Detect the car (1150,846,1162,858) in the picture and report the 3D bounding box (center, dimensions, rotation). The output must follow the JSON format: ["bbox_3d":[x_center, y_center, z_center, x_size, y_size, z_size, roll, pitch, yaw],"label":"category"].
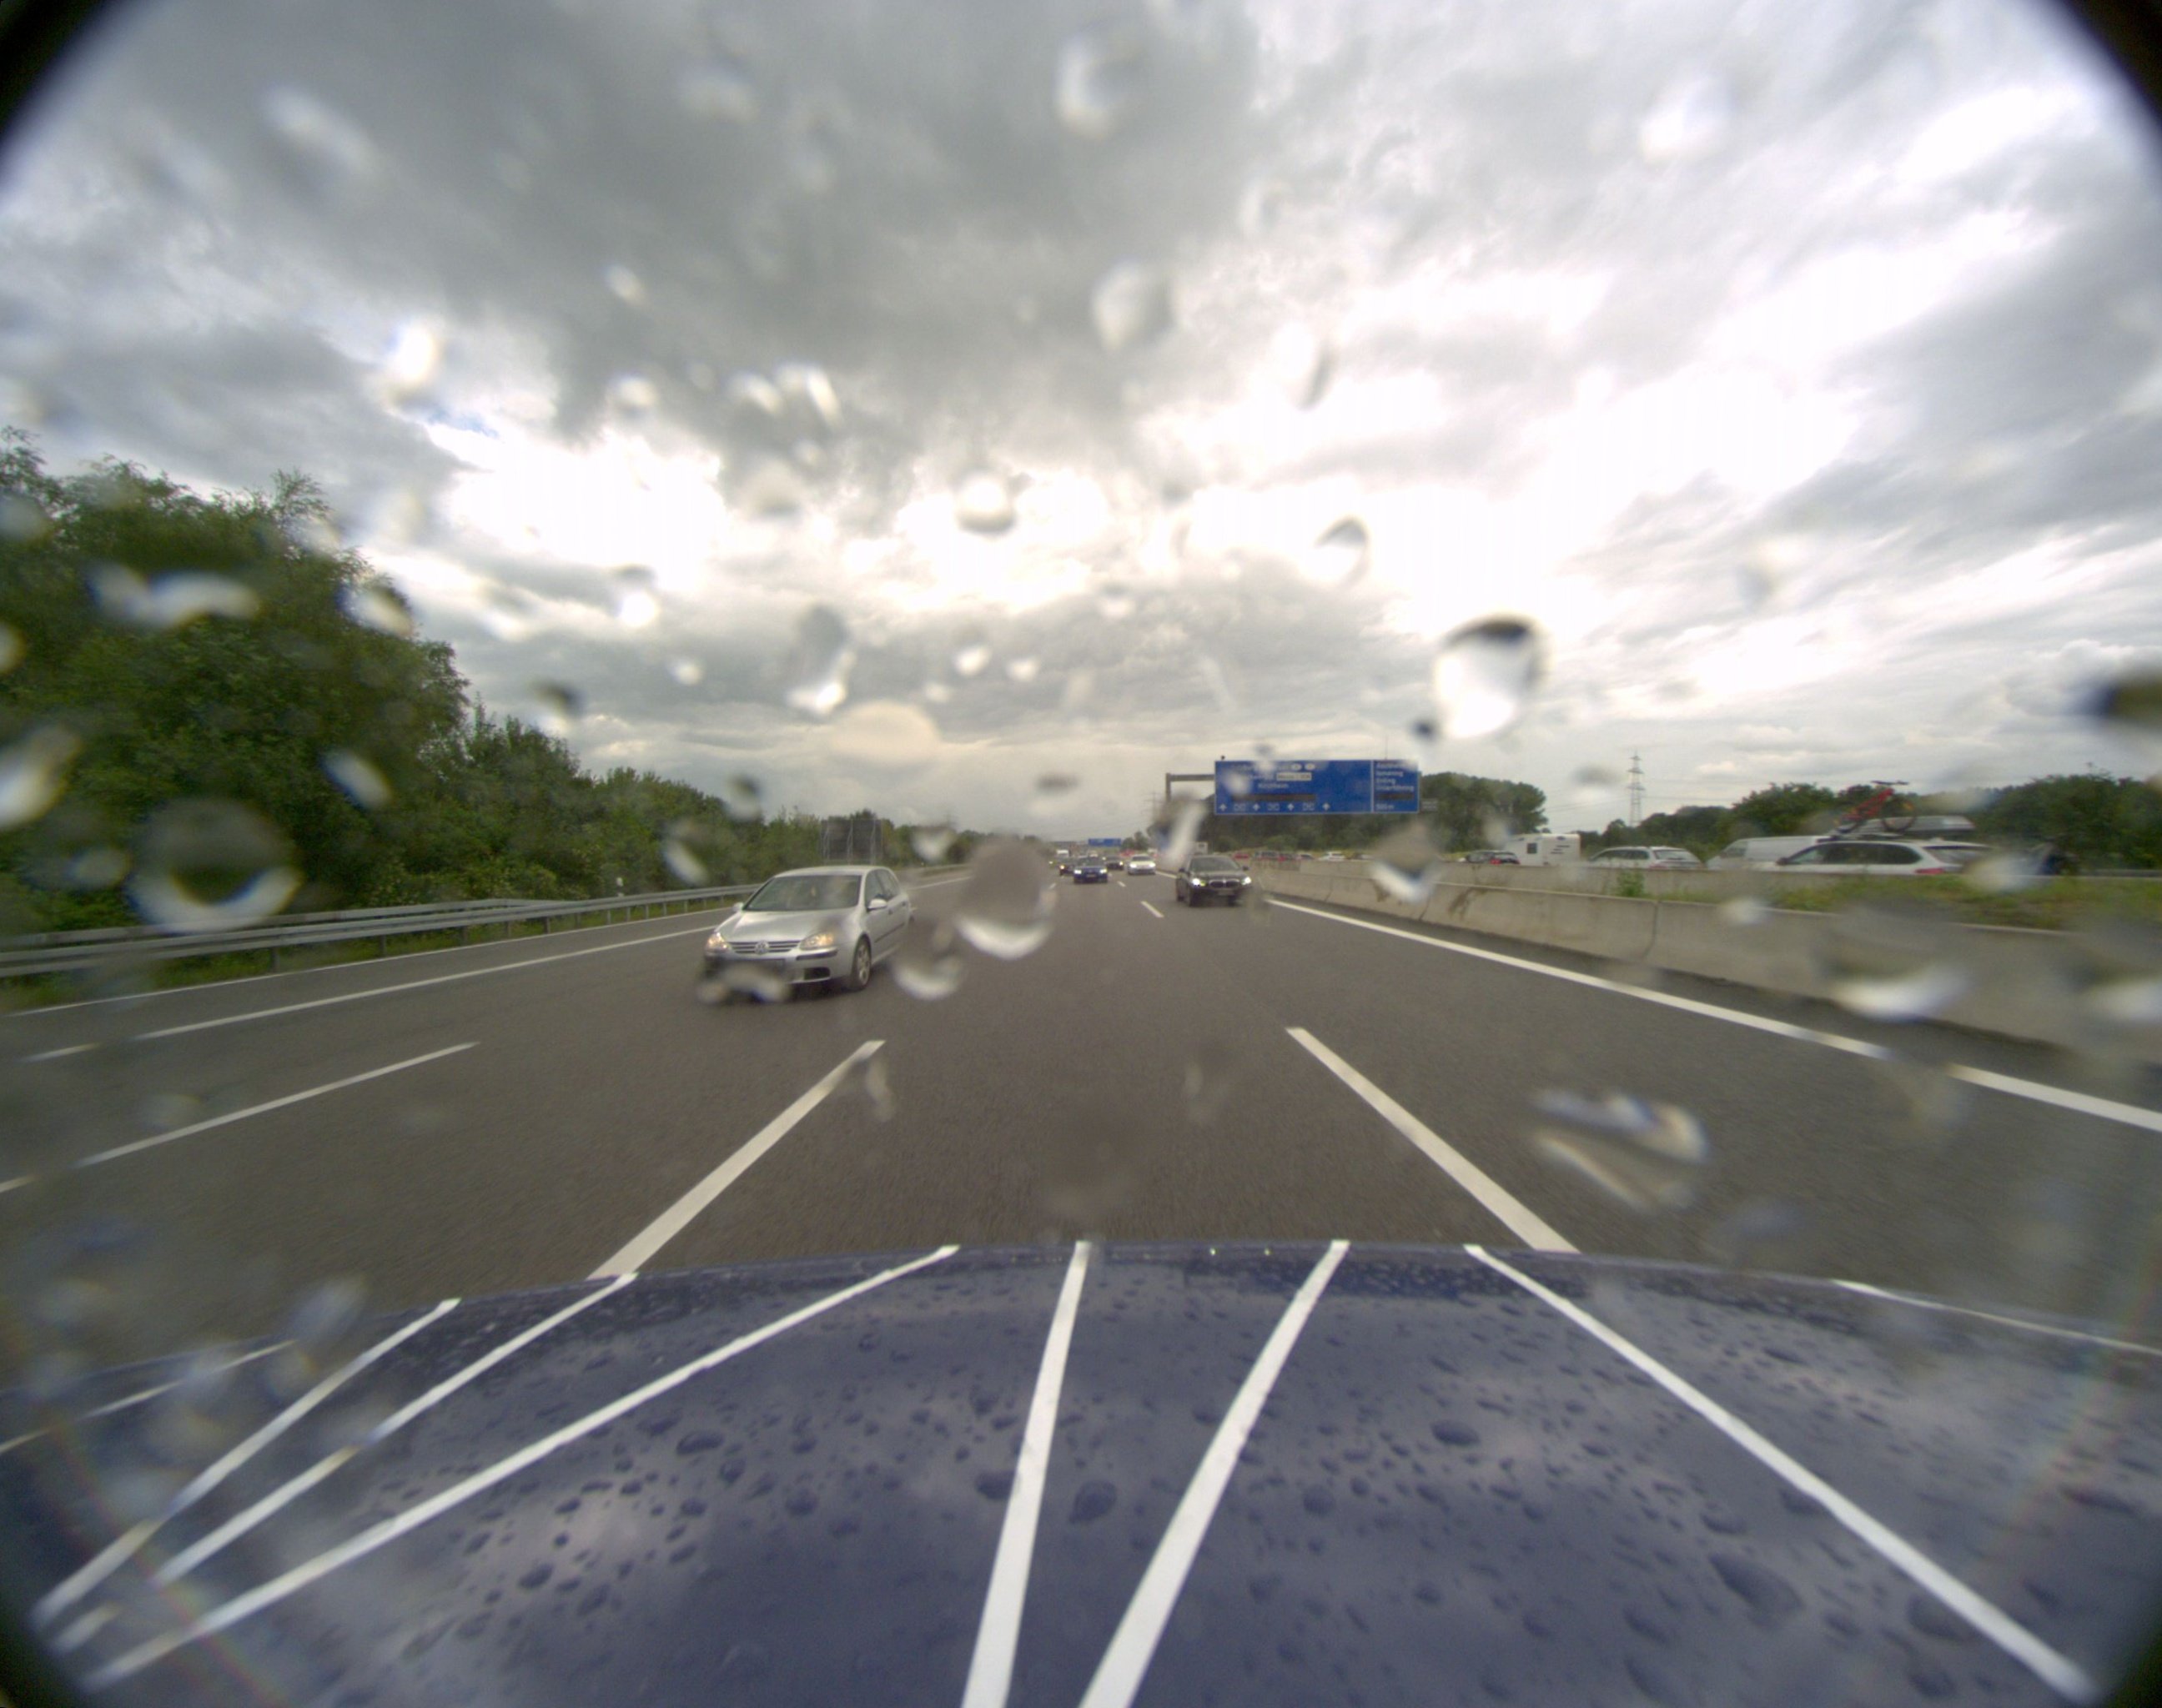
[{"bbox_3d":[22.588,-0.588,229.905,2.667,3.258,6.561,-2,0,-1],"label":"car"}]

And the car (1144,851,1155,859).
[{"bbox_3d":[15.267,0.182,170.277,1.999,1.704,4.871,-2,0,0],"label":"car"}]

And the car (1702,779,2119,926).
[{"bbox_3d":[14.730,-0.028,14.151,1.998,2.168,5.289,-2,0,1],"label":"car"}]

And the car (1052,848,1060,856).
[{"bbox_3d":[-6.912,-0.475,209.584,1.999,2.002,4.354,-2,0,-2],"label":"car"}]

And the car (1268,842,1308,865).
[{"bbox_3d":[18.898,-0.032,69.539,2.248,1.941,5.183,-2,0,0],"label":"car"}]

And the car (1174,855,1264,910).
[{"bbox_3d":[3.915,0.767,22.197,1.923,1.407,4.000,-1,0,1],"label":"car"}]

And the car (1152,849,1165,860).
[{"bbox_3d":[14.680,0.088,144.094,1.998,1.880,4.362,-2,0,0],"label":"car"}]

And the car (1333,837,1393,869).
[{"bbox_3d":[18.418,-0.049,49.931,1.998,1.941,5.225,-2,0,1],"label":"car"}]

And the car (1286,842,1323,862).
[{"bbox_3d":[22.649,-0.178,77.344,2.248,1.941,5.225,-2,0,1],"label":"car"}]

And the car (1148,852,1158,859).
[{"bbox_3d":[18.879,0.457,199.575,1.999,1.704,4.698,-2,0,0],"label":"car"}]

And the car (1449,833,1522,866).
[{"bbox_3d":[26.089,-0.268,49.262,1.998,1.941,5.225,-2,0,1],"label":"car"}]

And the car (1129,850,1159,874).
[{"bbox_3d":[4.428,0.559,53.966,1.822,1.565,4.000,-2,0,1],"label":"car"}]

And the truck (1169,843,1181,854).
[{"bbox_3d":[30.926,-1.725,249.593,2.885,3.591,9.580,-2,0,1],"label":"truck"}]

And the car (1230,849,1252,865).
[{"bbox_3d":[18.831,0.326,89.751,1.682,1.735,4.336,-2,0,0],"label":"car"}]

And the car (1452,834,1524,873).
[{"bbox_3d":[22.386,-0.029,41.923,1.821,2.002,4.000,-2,0,1],"label":"car"}]

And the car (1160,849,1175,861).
[{"bbox_3d":[14.706,0.193,129.834,1.998,2.002,4.760,-2,0,0],"label":"car"}]

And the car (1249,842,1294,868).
[{"bbox_3d":[15.134,0.064,60.678,2.248,1.941,5.225,-2,0,0],"label":"car"}]

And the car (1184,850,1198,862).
[{"bbox_3d":[19.675,0.335,136.032,1.888,2.002,4.000,-2,0,0],"label":"car"}]

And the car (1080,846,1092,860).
[{"bbox_3d":[0.900,-0.210,145.353,2.145,2.486,5.447,-2,0,0],"label":"car"}]

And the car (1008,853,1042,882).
[{"bbox_3d":[-3.309,0.745,45.497,1.785,1.603,4.597,-2,0,-2],"label":"car"}]

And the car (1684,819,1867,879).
[{"bbox_3d":[25.362,-0.183,28.101,1.998,1.941,5.225,-2,0,1],"label":"car"}]

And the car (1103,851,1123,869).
[{"bbox_3d":[2.945,0.551,71.030,1.711,1.621,4.000,-2,0,1],"label":"car"}]

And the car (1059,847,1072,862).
[{"bbox_3d":[-2.667,0.031,134.694,2.145,2.486,5.447,-2,0,-1],"label":"car"}]

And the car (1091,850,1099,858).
[{"bbox_3d":[3.794,-0.012,208.058,1.998,2.002,4.751,-2,0,1],"label":"car"}]

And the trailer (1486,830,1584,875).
[{"bbox_3d":[26.057,-0.087,43.916,2.248,2.361,5.783,-2,0,1],"label":"trailer"}]

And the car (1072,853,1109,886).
[{"bbox_3d":[0.485,0.738,38.753,1.711,1.562,4.346,-2,0,1],"label":"car"}]

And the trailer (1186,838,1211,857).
[{"bbox_3d":[26.360,-1.439,171.258,3.247,4.005,13.806,-2,0,0],"label":"trailer"}]

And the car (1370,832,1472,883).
[{"bbox_3d":[14.164,0.136,32.058,1.998,1.941,5.225,-2,0,1],"label":"car"}]

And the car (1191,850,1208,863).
[{"bbox_3d":[18.761,0.388,120.508,1.998,2.002,4.760,-2,0,0],"label":"car"}]

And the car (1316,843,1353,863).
[{"bbox_3d":[26.917,-0.099,80.971,2.248,1.941,5.225,-2,0,1],"label":"car"}]

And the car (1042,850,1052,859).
[{"bbox_3d":[-7.405,0.105,165.945,1.892,1.740,4.000,-2,0,1],"label":"car"}]

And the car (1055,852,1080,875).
[{"bbox_3d":[-1.024,0.708,57.806,1.711,1.621,4.457,-2,0,1],"label":"car"}]

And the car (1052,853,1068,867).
[{"bbox_3d":[-2.464,0.716,90.646,1.711,1.562,4.000,-2,0,1],"label":"car"}]

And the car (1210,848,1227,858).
[{"bbox_3d":[27.058,-0.250,149.516,2.437,1.941,4.828,-2,0,1],"label":"car"}]

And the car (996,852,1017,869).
[{"bbox_3d":[-7.557,0.668,77.504,1.815,1.589,4.694,-2,0,-2],"label":"car"}]

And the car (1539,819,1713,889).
[{"bbox_3d":[18.485,-0.006,26.227,1.998,2.070,5.648,-2,0,1],"label":"car"}]

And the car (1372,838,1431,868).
[{"bbox_3d":[22.458,-0.101,53.475,1.998,1.941,5.225,-2,0,1],"label":"car"}]

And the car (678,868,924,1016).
[{"bbox_3d":[-3.434,0.983,10.212,1.800,1.468,4.037,-2,0,-1],"label":"car"}]
